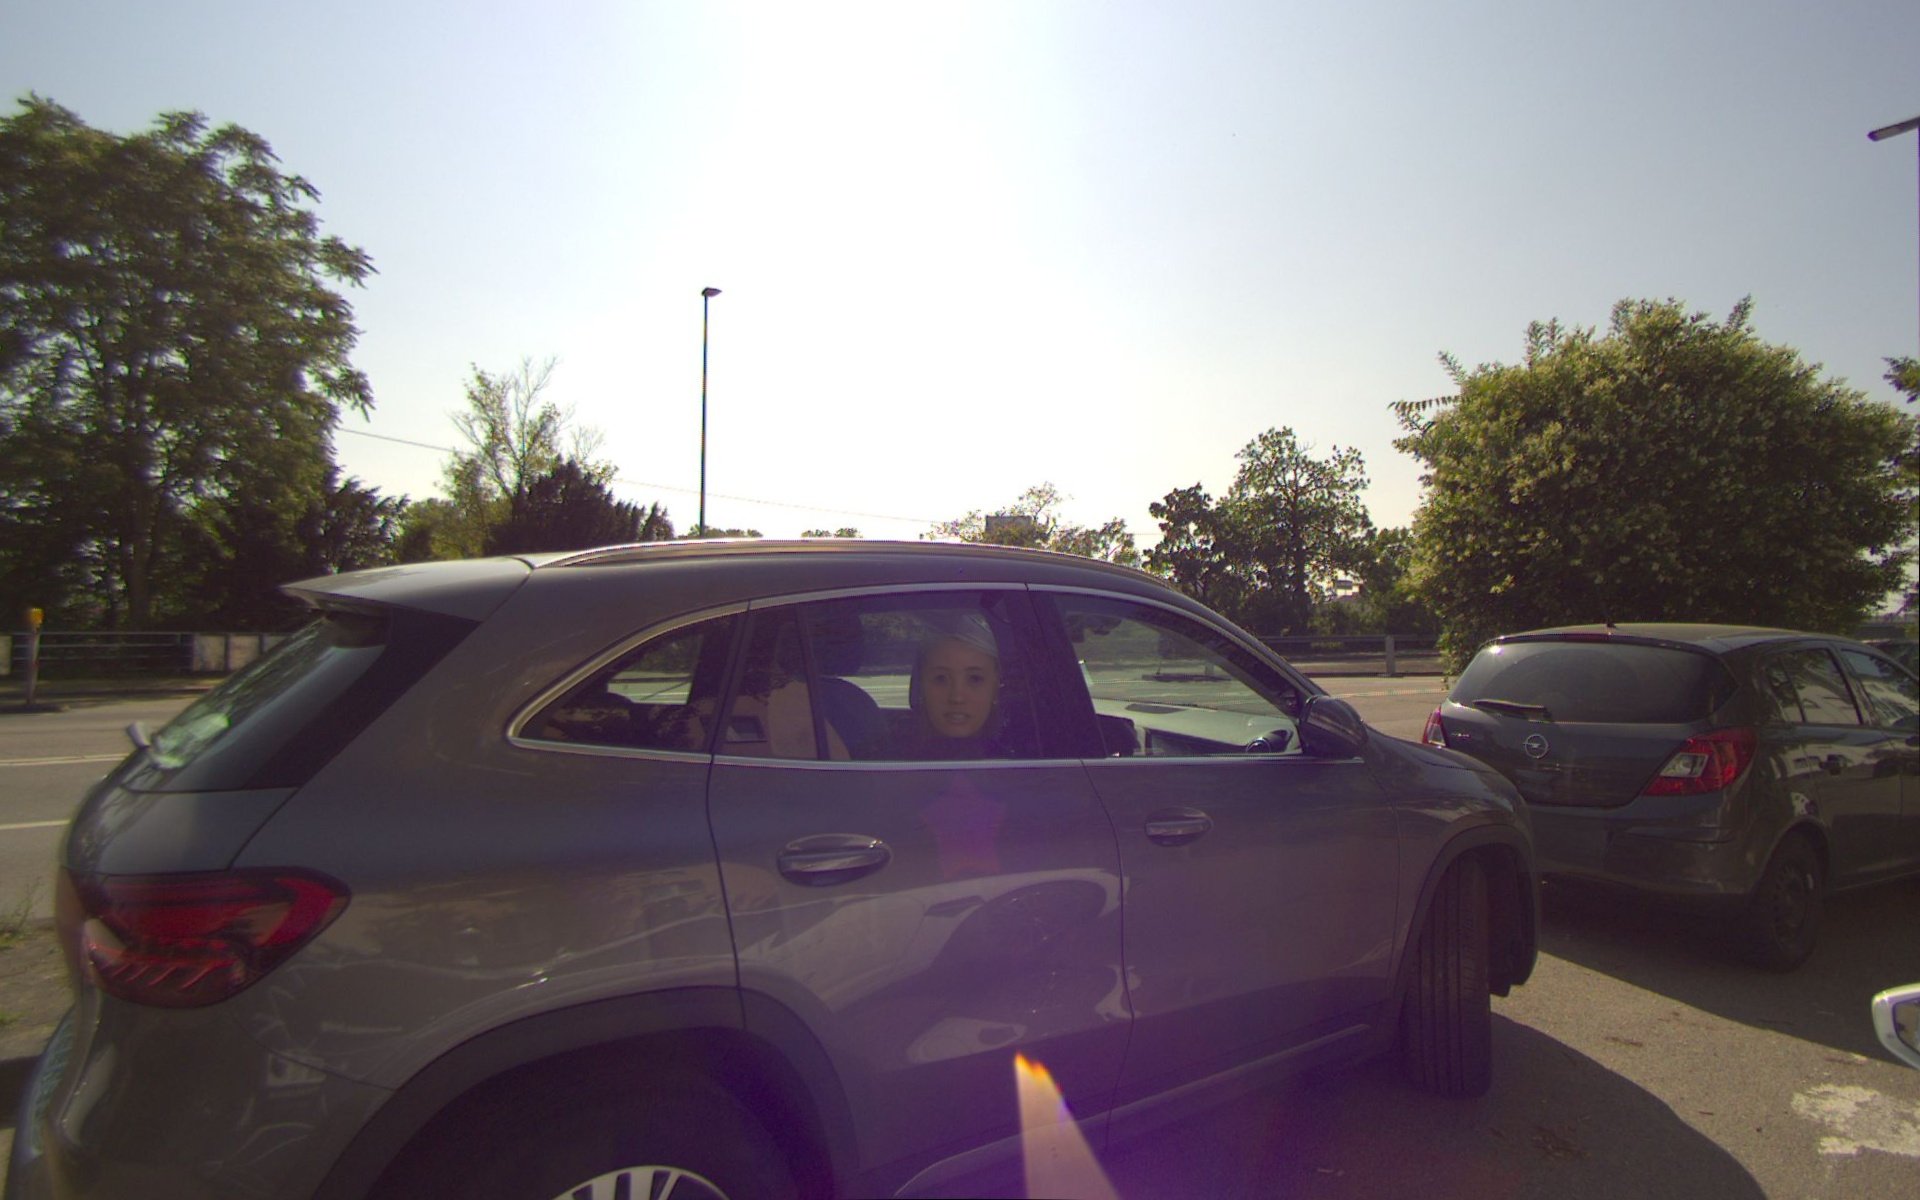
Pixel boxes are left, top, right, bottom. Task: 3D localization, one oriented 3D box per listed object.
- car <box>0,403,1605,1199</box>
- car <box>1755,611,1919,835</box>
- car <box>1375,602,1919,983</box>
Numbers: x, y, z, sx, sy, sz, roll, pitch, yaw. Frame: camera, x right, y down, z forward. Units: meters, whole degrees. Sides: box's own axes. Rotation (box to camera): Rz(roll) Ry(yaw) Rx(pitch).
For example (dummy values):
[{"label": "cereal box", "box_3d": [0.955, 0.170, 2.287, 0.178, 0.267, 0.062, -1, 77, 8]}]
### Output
[{"label": "car", "box_3d": [0.027, 0.623, 2.949, 4.145, 1.600, 1.760, 1, -1, -36]}, {"label": "car", "box_3d": [8.662, 0.913, 8.288, 4.538, 1.532, 1.656, 1, 2, -29]}, {"label": "car", "box_3d": [4.294, 0.799, 5.609, 3.829, 1.494, 1.656, 1, -1, -29]}]
